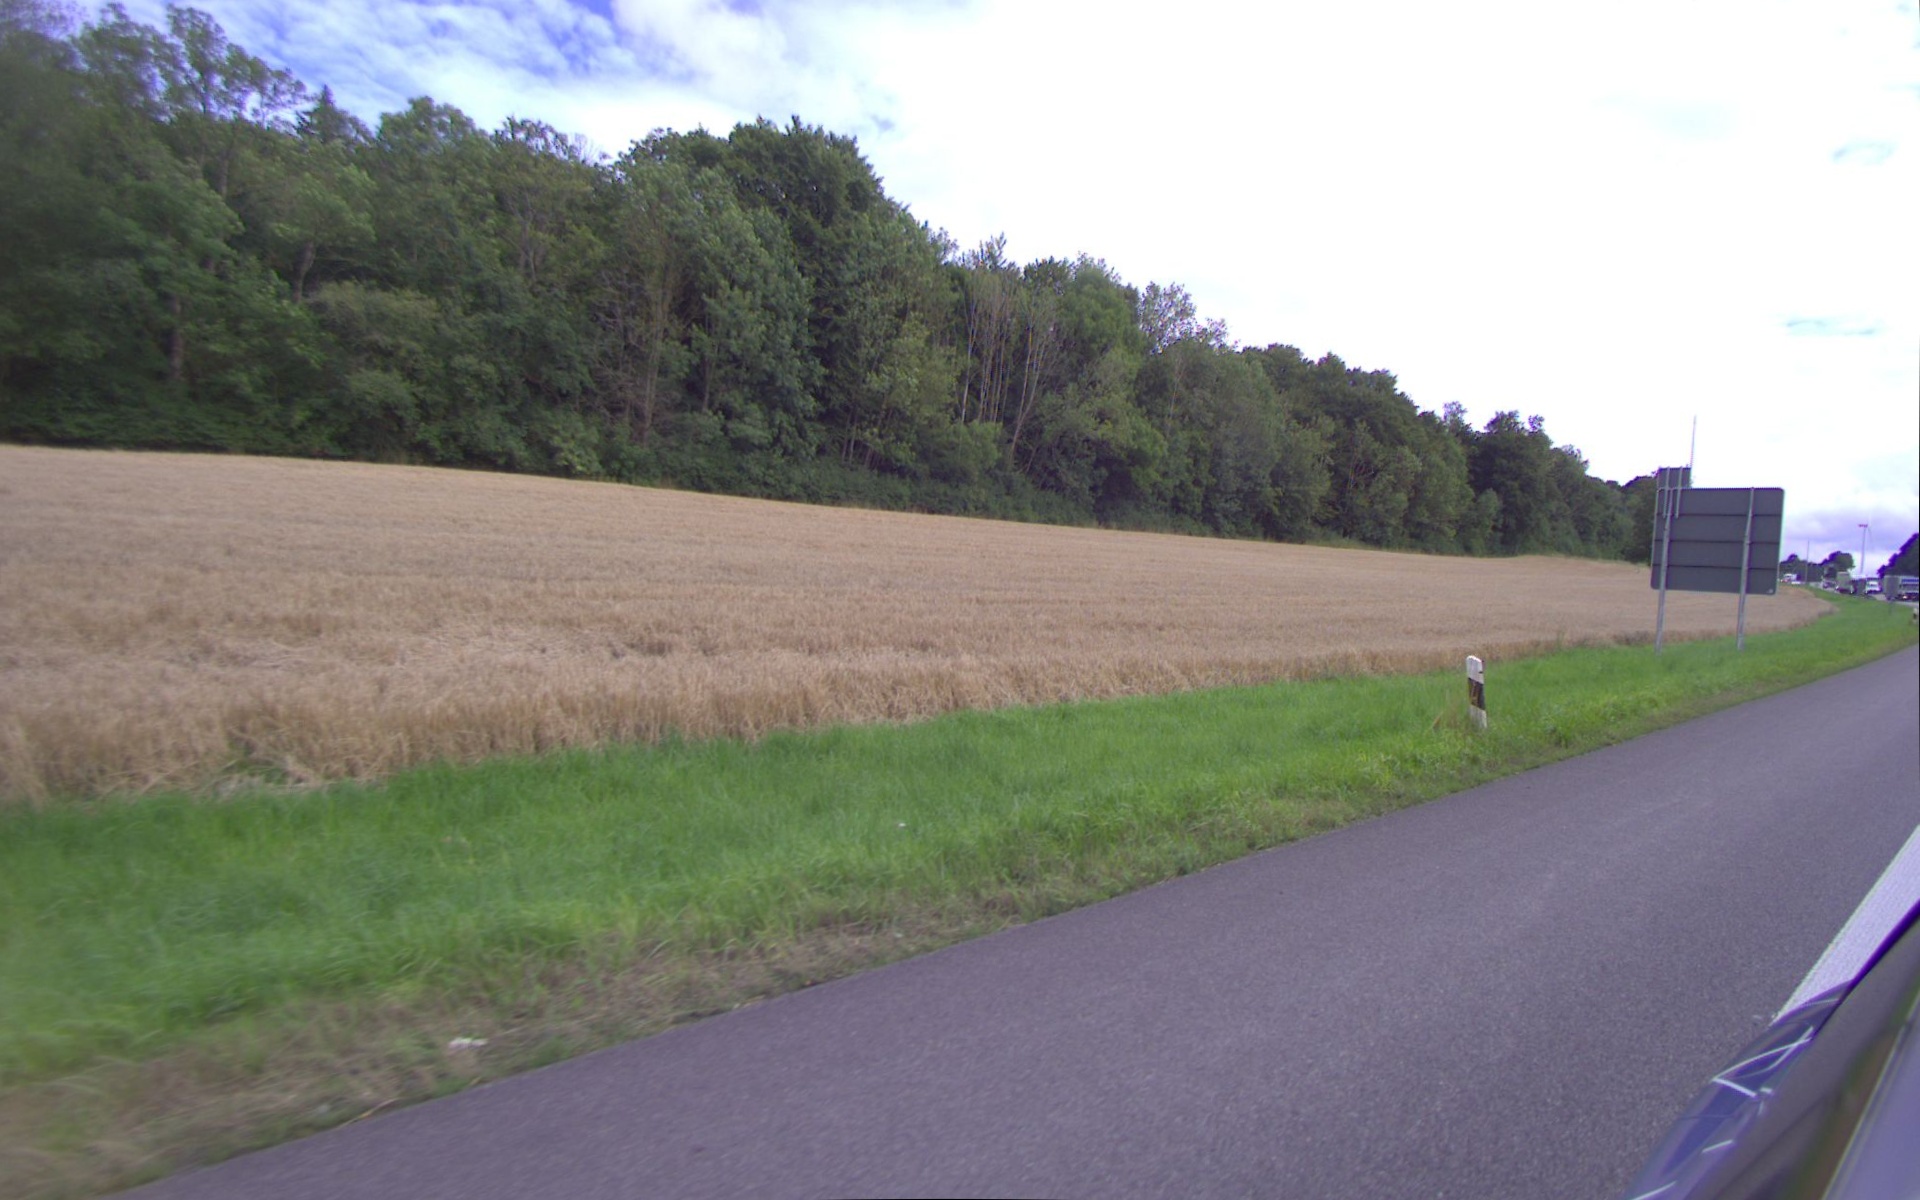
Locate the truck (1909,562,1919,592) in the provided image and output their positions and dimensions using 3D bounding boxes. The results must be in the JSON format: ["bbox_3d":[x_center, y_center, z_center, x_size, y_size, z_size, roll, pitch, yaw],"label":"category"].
[{"bbox_3d":[133.704,-3.153,140.324,2.785,4.021,5.855,1,1,40],"label":"truck"}]

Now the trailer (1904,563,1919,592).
[{"bbox_3d":[137.332,-3.240,144.714,2.776,4.004,11.135,1,1,40],"label":"trailer"}]
